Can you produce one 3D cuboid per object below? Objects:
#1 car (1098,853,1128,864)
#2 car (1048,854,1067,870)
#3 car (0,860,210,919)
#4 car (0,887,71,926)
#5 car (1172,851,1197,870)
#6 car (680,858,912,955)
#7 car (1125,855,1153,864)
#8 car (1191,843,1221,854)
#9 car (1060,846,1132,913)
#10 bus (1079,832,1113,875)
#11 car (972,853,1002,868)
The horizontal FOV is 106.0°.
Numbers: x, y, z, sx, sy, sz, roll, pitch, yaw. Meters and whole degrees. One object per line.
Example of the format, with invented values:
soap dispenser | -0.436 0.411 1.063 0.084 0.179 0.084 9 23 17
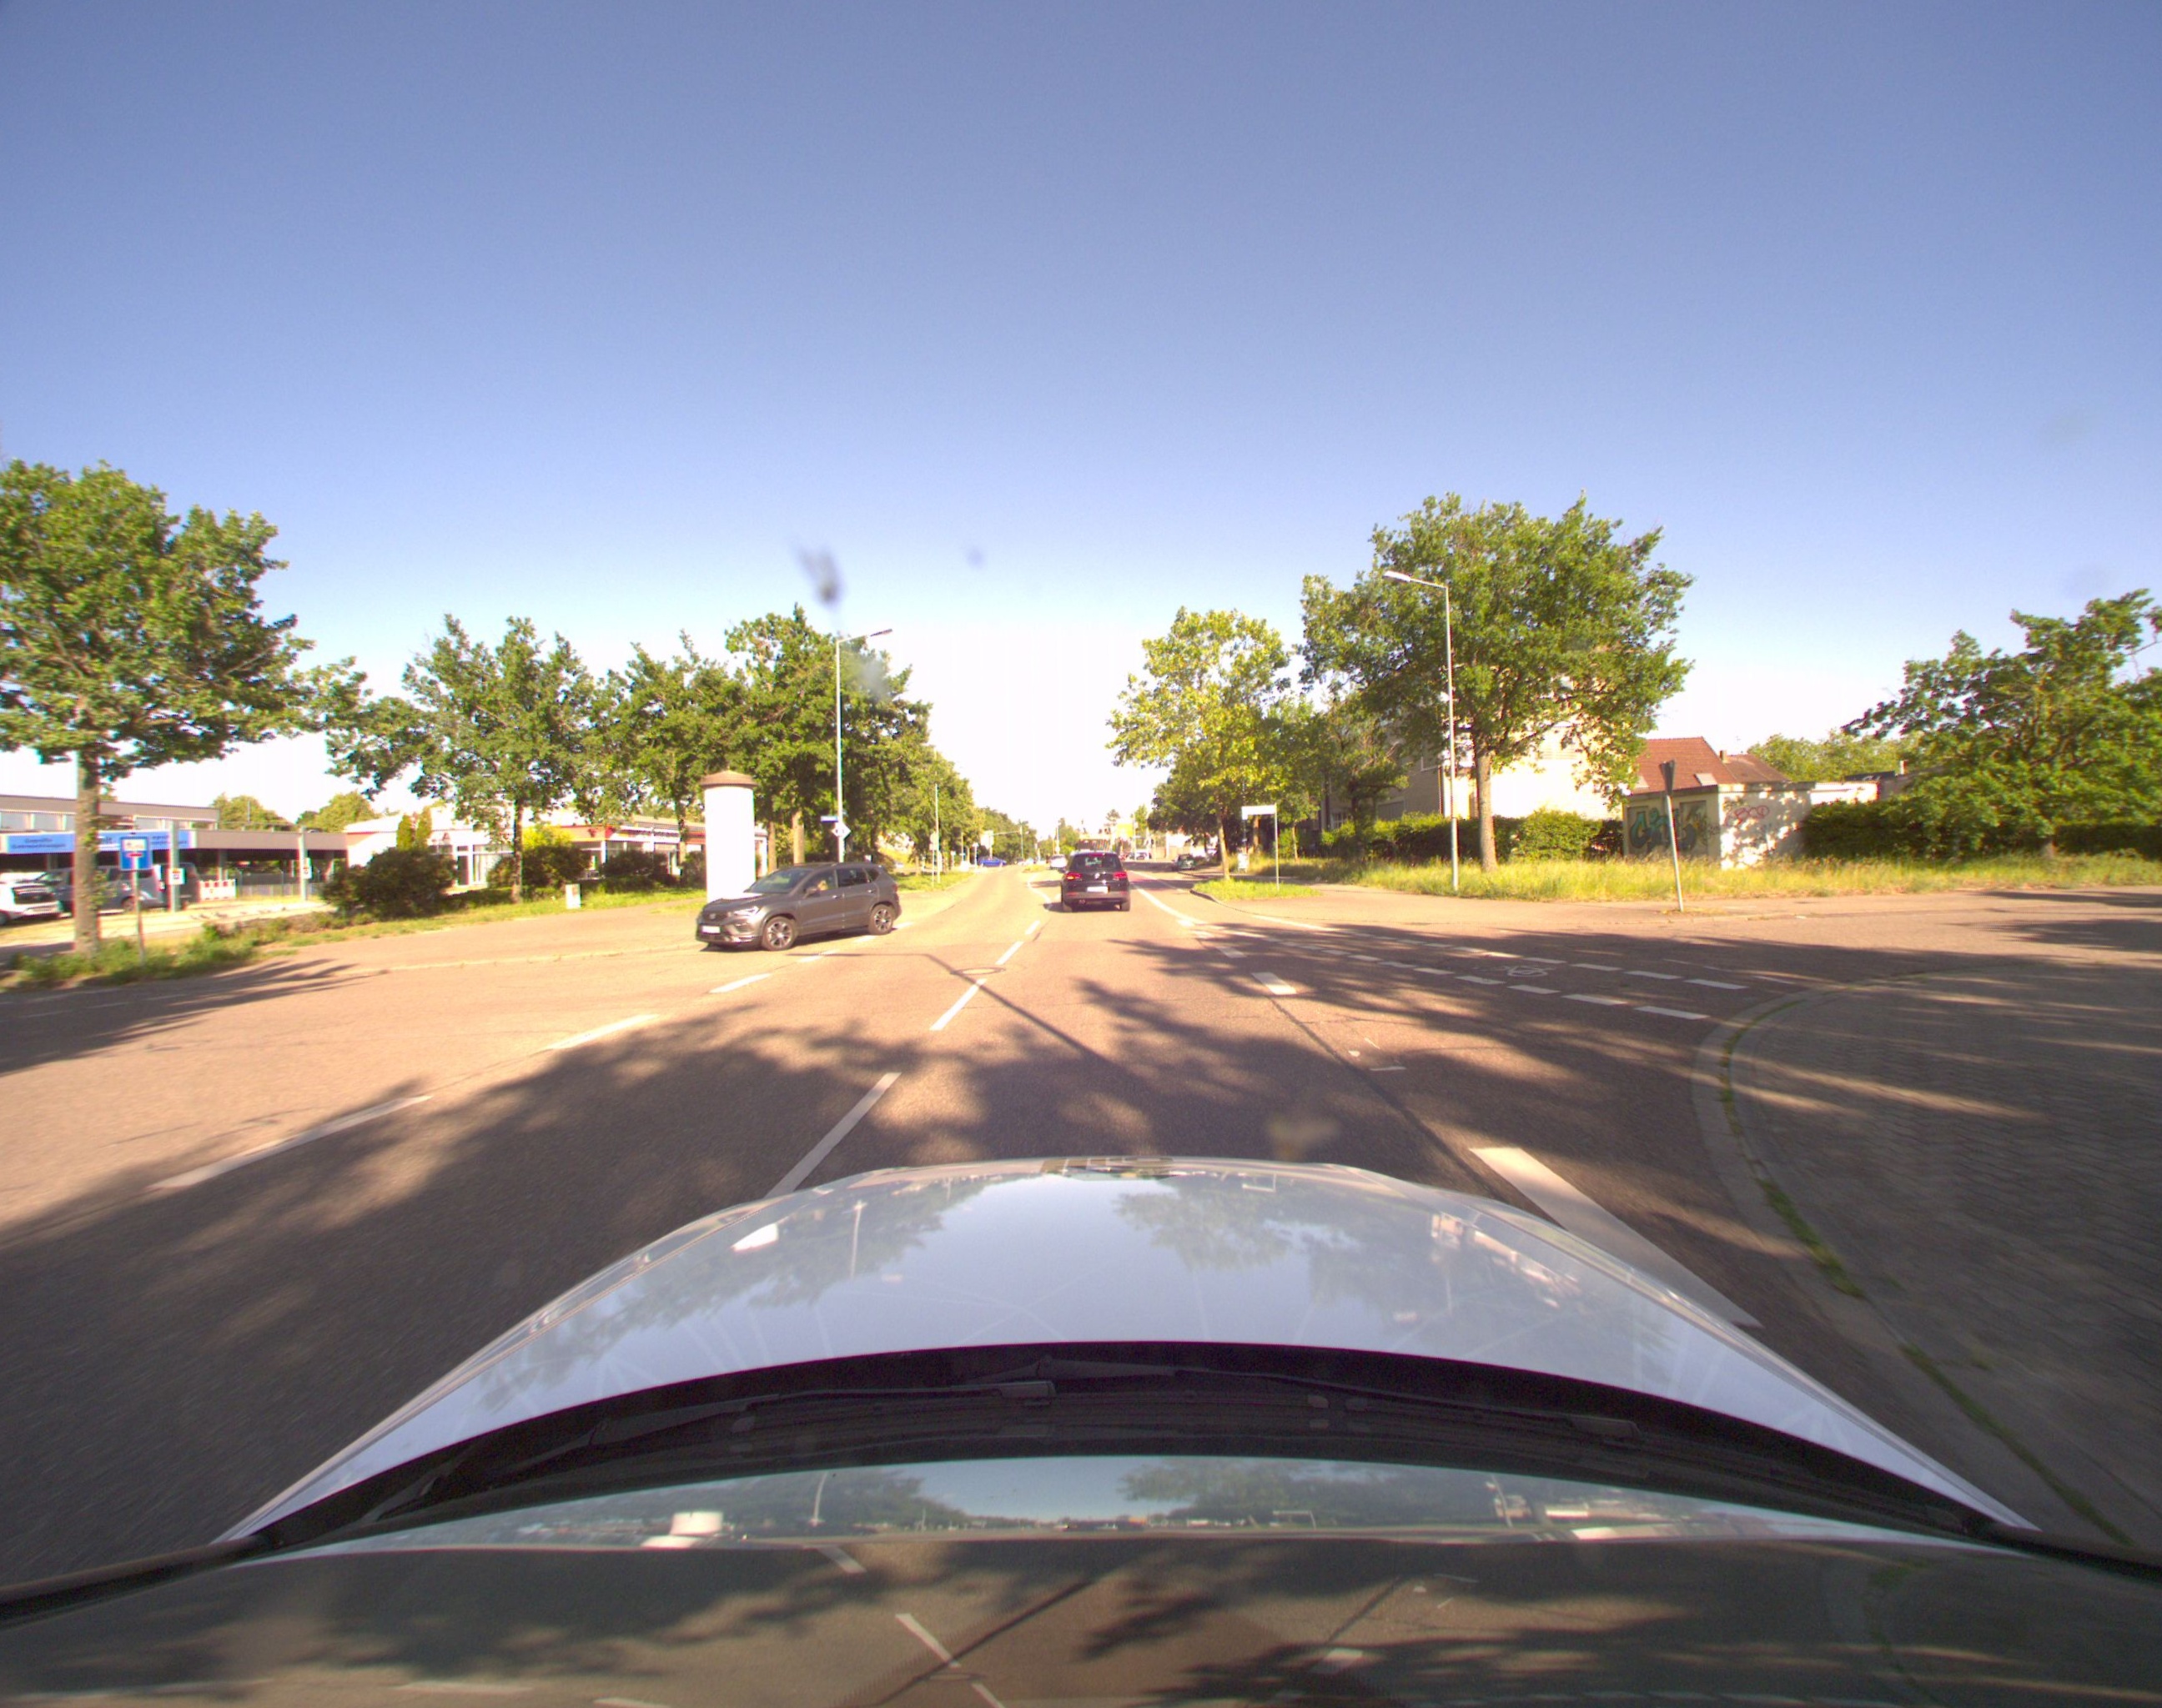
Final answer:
car | 3.876 0.544 98.089 3.502 1.302 1.578 -1 0 8
car | -2.510 0.822 85.921 1.752 1.620 4.024 -2 -1 -6
car | -38.635 1.378 32.277 5.399 2.070 2.297 -2 0 -5
car | -39.265 1.930 29.354 3.515 1.302 1.573 -1 0 -4
car | 8.541 0.525 67.451 1.587 1.428 4.204 -3 -1 1
car | -5.625 0.961 16.668 1.737 1.595 4.326 -2 0 30
car | 8.862 0.785 124.351 3.891 1.340 1.677 0 -1 -9
car | 19.262 -0.826 125.792 4.376 1.683 1.709 0 -1 -5
car | 0.465 0.684 23.105 1.814 1.673 4.004 -2 -1 2
bus | 1.141 -0.011 69.566 2.588 3.334 11.980 -1 0 0
car | -12.571 0.866 109.301 3.980 1.880 1.997 0 -1 -5
